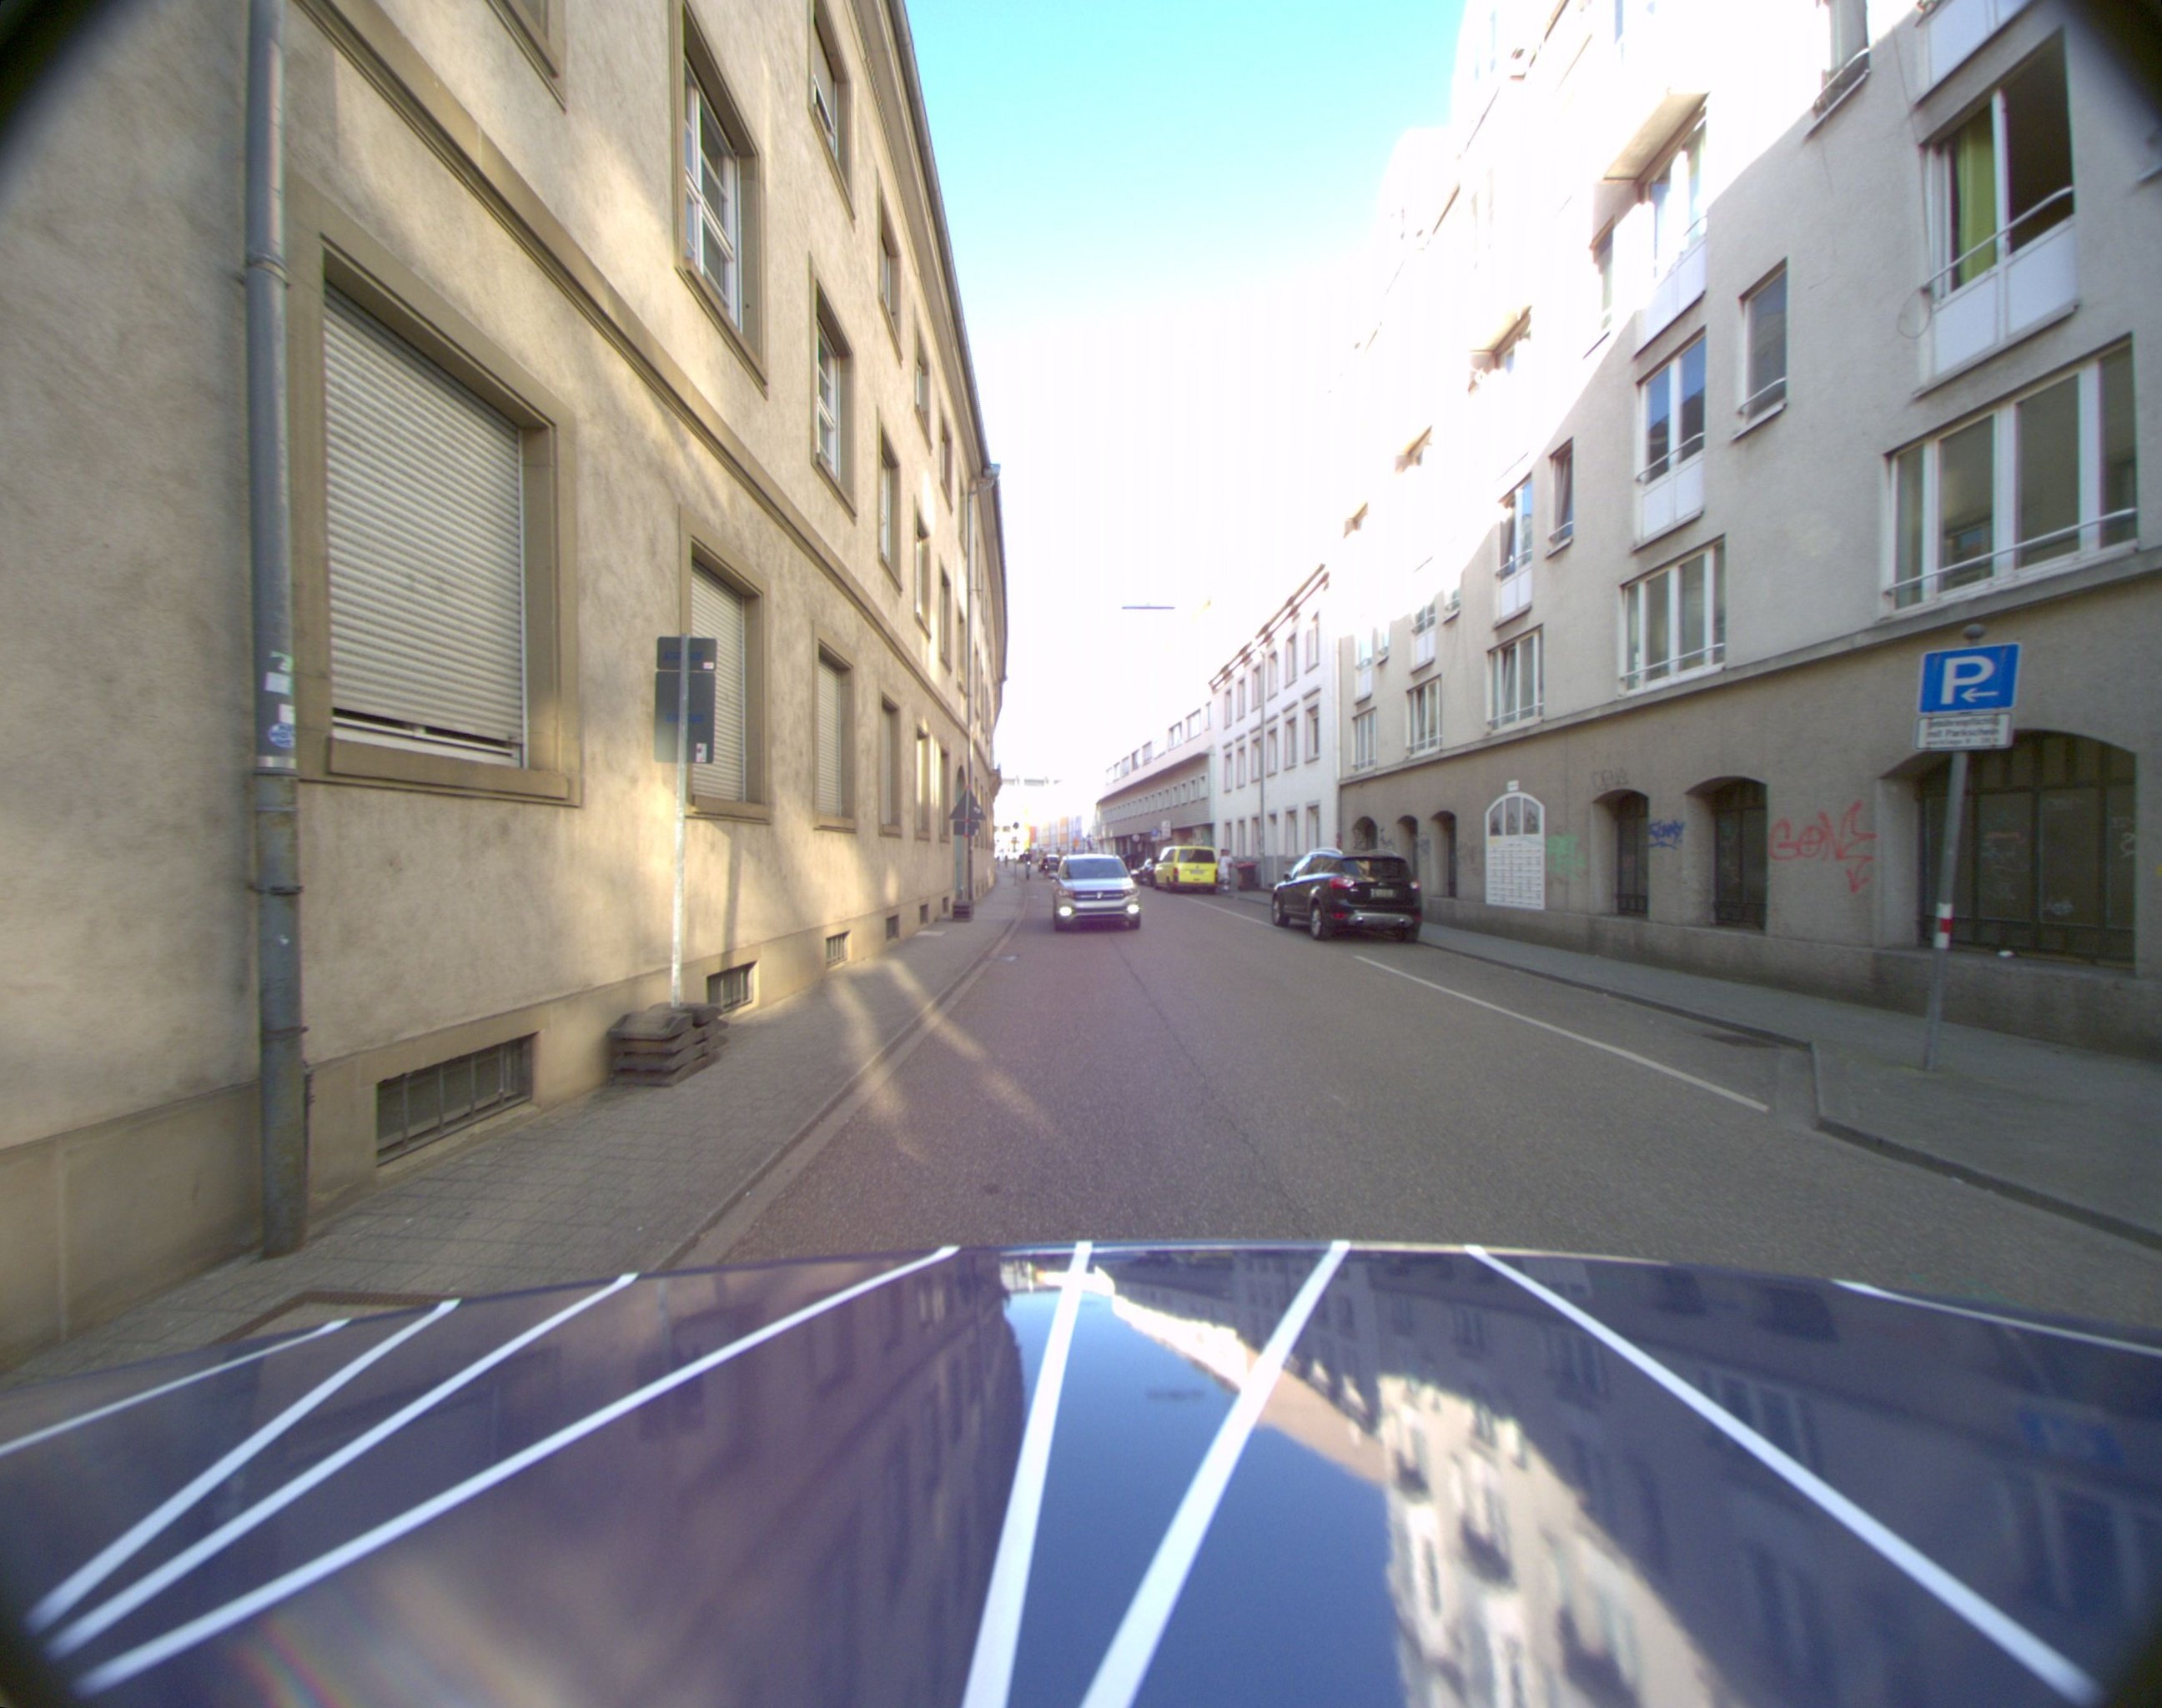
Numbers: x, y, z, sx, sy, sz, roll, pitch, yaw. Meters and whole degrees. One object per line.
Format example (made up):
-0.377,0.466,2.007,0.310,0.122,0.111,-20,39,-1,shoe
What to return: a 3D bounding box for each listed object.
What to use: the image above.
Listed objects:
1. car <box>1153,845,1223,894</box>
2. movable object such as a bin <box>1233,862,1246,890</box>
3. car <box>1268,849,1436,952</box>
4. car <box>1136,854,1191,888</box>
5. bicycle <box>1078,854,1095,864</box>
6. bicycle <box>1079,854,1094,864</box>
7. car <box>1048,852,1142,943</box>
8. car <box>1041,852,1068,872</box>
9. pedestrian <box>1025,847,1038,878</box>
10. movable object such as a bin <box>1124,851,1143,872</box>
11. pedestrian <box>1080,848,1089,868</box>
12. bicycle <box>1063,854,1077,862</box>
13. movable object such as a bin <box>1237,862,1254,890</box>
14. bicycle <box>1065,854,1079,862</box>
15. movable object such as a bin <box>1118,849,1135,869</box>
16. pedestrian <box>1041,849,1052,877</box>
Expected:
4.371,0.590,31.815,1.885,1.856,4.861,2,0,-4,car
6.348,0.863,30.353,0.411,1.098,0.433,0,1,-2,movable object such as a bin
5.120,0.786,14.998,1.744,1.701,4.190,2,0,0,car
3.967,0.784,37.322,1.824,1.477,4.074,2,0,-6,car
0.658,0.586,91.607,1.821,1.094,0.749,-4,1,-9,bicycle
0.714,0.564,93.066,1.740,1.094,0.388,-5,1,-15,bicycle
0.262,0.821,16.476,1.683,1.568,4.242,-4,1,0,car
-2.272,0.649,64.486,1.720,1.569,4.186,-1,0,-9,car
-3.101,0.508,47.785,0.678,1.928,0.857,-1,1,-9,pedestrian
3.804,0.519,55.493,1.126,1.511,1.341,-1,0,-8,movable object such as a bin
0.266,0.334,63.972,0.494,1.660,0.626,-3,1,-21,pedestrian
-1.486,0.560,105.341,1.804,0.941,0.388,-4,1,-8,bicycle
6.426,0.854,29.667,0.542,1.098,0.433,0,1,-2,movable object such as a bin
-1.223,0.537,106.079,1.804,0.941,0.388,-4,1,-8,bicycle
3.423,0.395,57.588,0.971,1.462,1.474,-1,-1,-8,movable object such as a bin
-2.176,0.576,47.977,0.603,1.770,0.651,-1,1,-9,pedestrian
